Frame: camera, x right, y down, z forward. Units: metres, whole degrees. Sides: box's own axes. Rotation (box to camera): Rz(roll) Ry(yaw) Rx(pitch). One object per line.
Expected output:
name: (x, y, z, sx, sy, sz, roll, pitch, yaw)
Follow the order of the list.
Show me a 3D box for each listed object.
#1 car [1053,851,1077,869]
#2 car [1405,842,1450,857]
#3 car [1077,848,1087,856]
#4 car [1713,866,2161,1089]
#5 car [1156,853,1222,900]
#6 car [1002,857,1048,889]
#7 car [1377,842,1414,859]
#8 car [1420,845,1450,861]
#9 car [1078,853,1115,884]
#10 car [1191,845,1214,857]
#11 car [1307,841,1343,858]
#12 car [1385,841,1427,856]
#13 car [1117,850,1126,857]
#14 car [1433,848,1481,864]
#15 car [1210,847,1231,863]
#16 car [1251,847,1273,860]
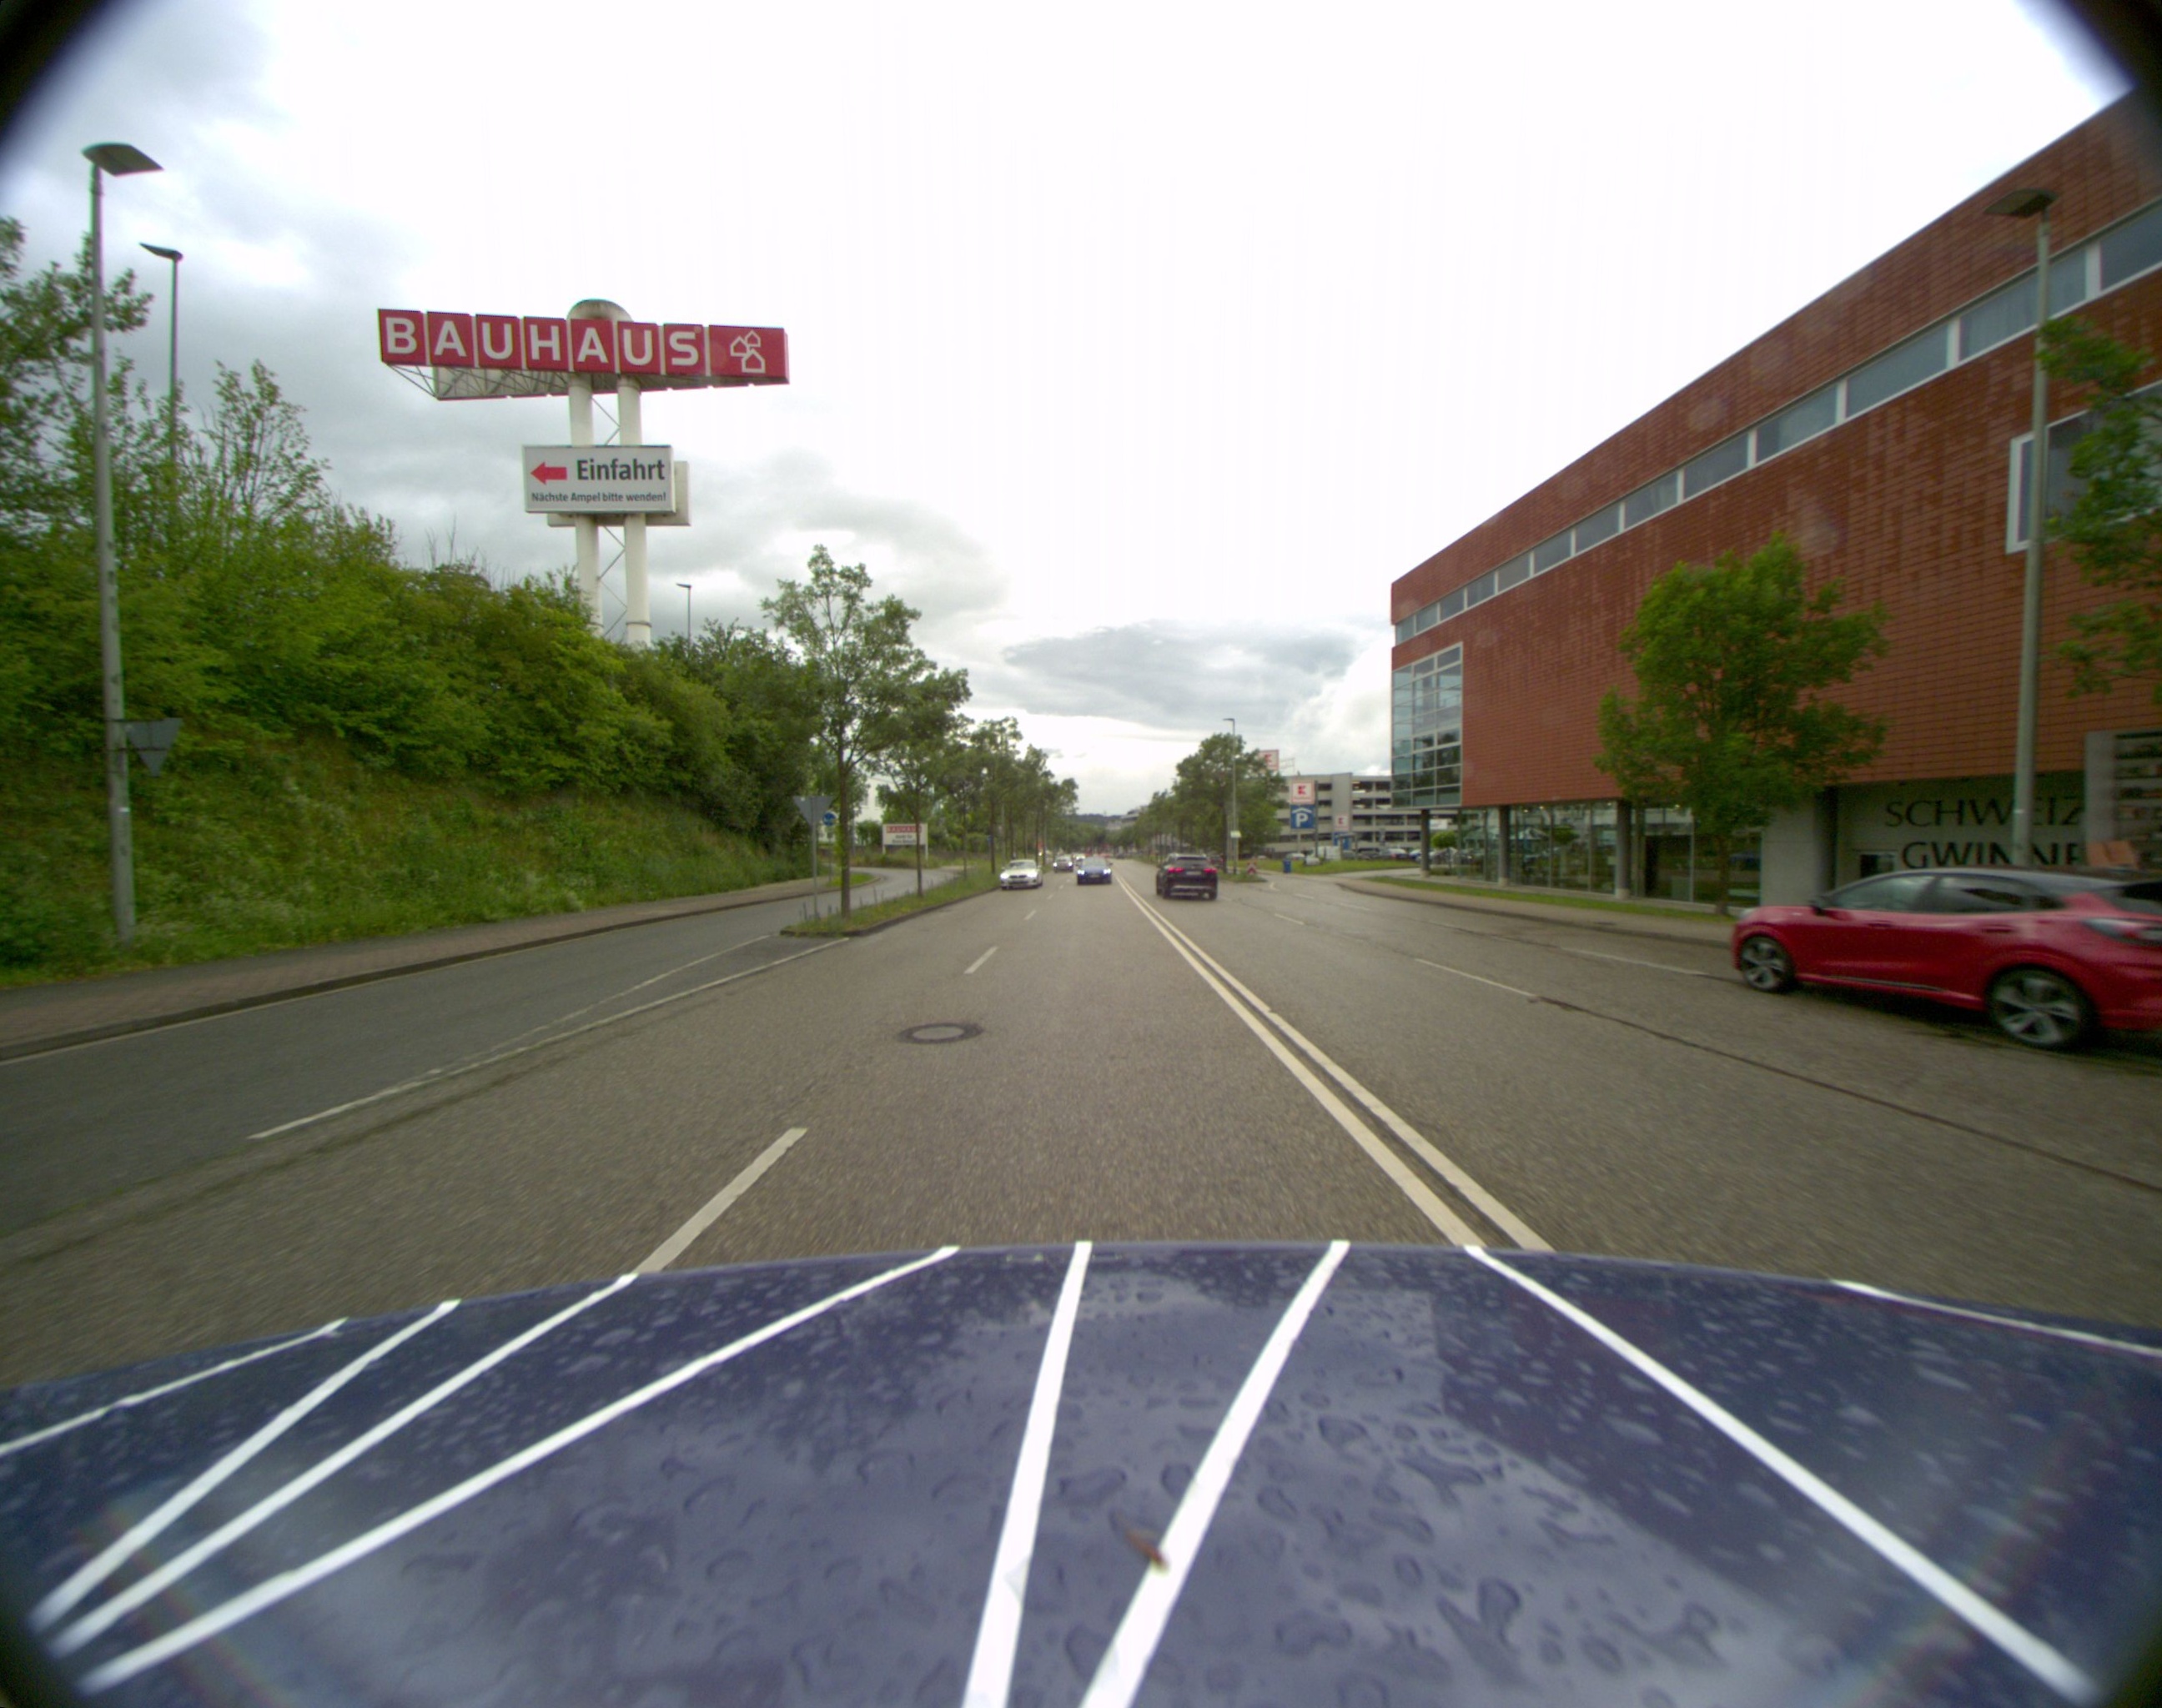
car: (-1.517, 0.507, 73.396, 2.114, 1.610, 4.840, -2, 0, 1)
car: (37.192, -0.482, 81.638, 4.060, 1.608, 1.834, -1, 1, 1)
car: (0.245, -0.436, 153.517, 1.853, 1.565, 3.998, -2, 2, -3)
car: (8.622, 0.913, 7.337, 1.680, 1.498, 4.217, 0, 0, 3)
car: (3.887, 0.759, 27.991, 1.863, 1.568, 4.320, 1, 0, 1)
car: (-2.815, 0.927, 38.969, 1.863, 1.473, 4.000, -2, 0, 3)
car: (25.336, -0.271, 61.291, 1.509, 1.276, 3.449, -2, 1, 1)
car: (33.776, -0.120, 72.635, 1.439, 1.414, 3.497, -1, 0, 4)
car: (0.824, 0.738, 40.737, 1.827, 1.473, 4.840, -2, 0, 1)
car: (20.114, -0.498, 125.610, 1.845, 1.839, 4.008, 0, 0, 43)
car: (24.696, -0.462, 77.095, 1.834, 1.608, 4.436, -1, 1, -6)
car: (37.050, -0.638, 86.720, 4.060, 1.608, 1.834, -1, 1, 1)
car: (10.120, -0.135, 189.282, 2.114, 1.610, 4.840, 1, 0, 0)
car: (37.165, 0.192, 75.132, 3.999, 1.590, 1.681, -1, 1, -7)
car: (15.083, 0.064, 82.218, 1.832, 1.608, 4.001, -2, 0, 6)
car: (23.060, -0.079, 96.922, 1.833, 1.608, 4.062, -1, 1, -2)
